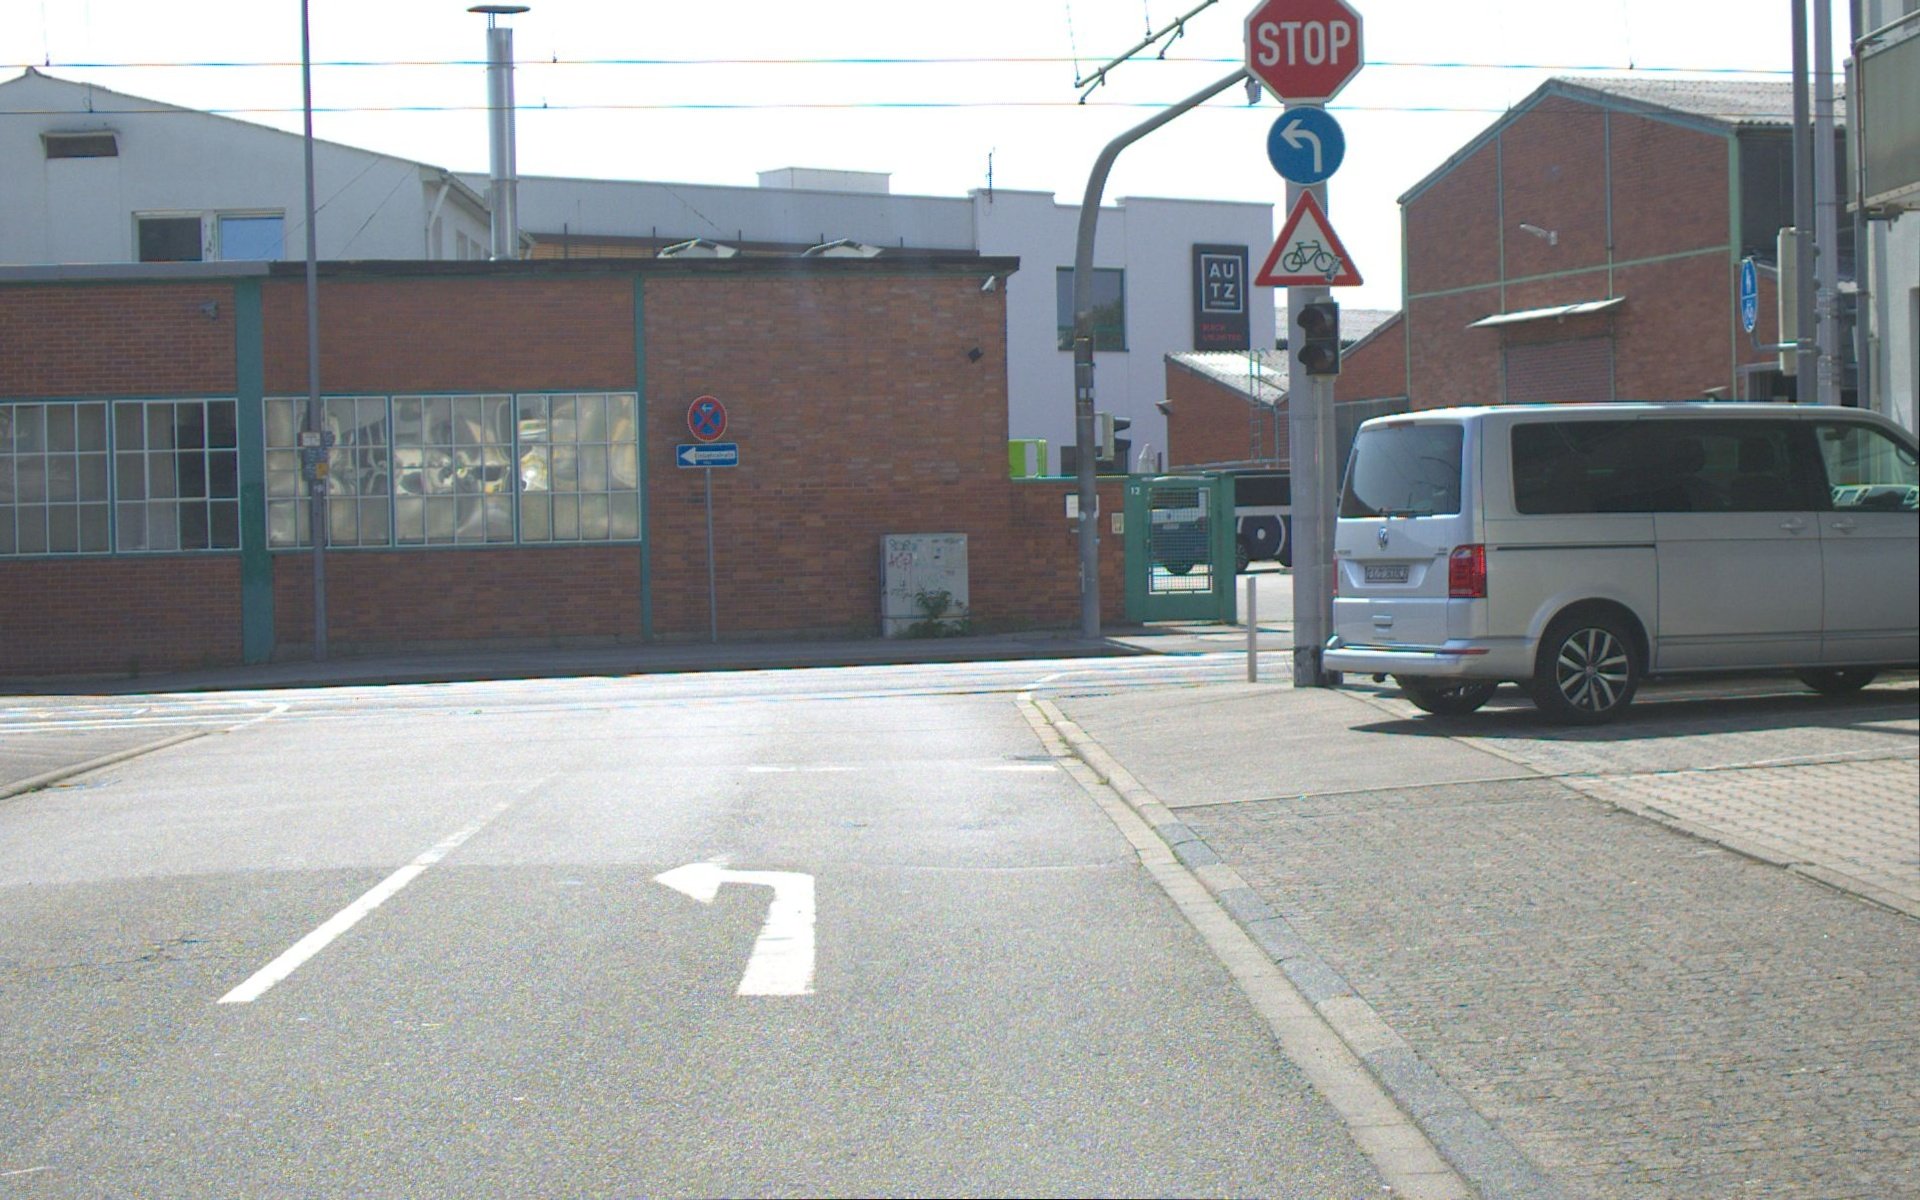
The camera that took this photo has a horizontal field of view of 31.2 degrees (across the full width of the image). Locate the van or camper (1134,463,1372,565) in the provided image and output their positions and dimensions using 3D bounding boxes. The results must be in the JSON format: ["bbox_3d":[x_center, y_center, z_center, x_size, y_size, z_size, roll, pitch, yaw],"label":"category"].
[{"bbox_3d":[5.744,-1.657,67.217,4.408,1.894,2.000,0,1,-37],"label":"van or camper"}]

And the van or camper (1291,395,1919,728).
[{"bbox_3d":[4.610,-0.298,21.843,4.540,1.901,2.001,-2,2,-21],"label":"van or camper"}]
